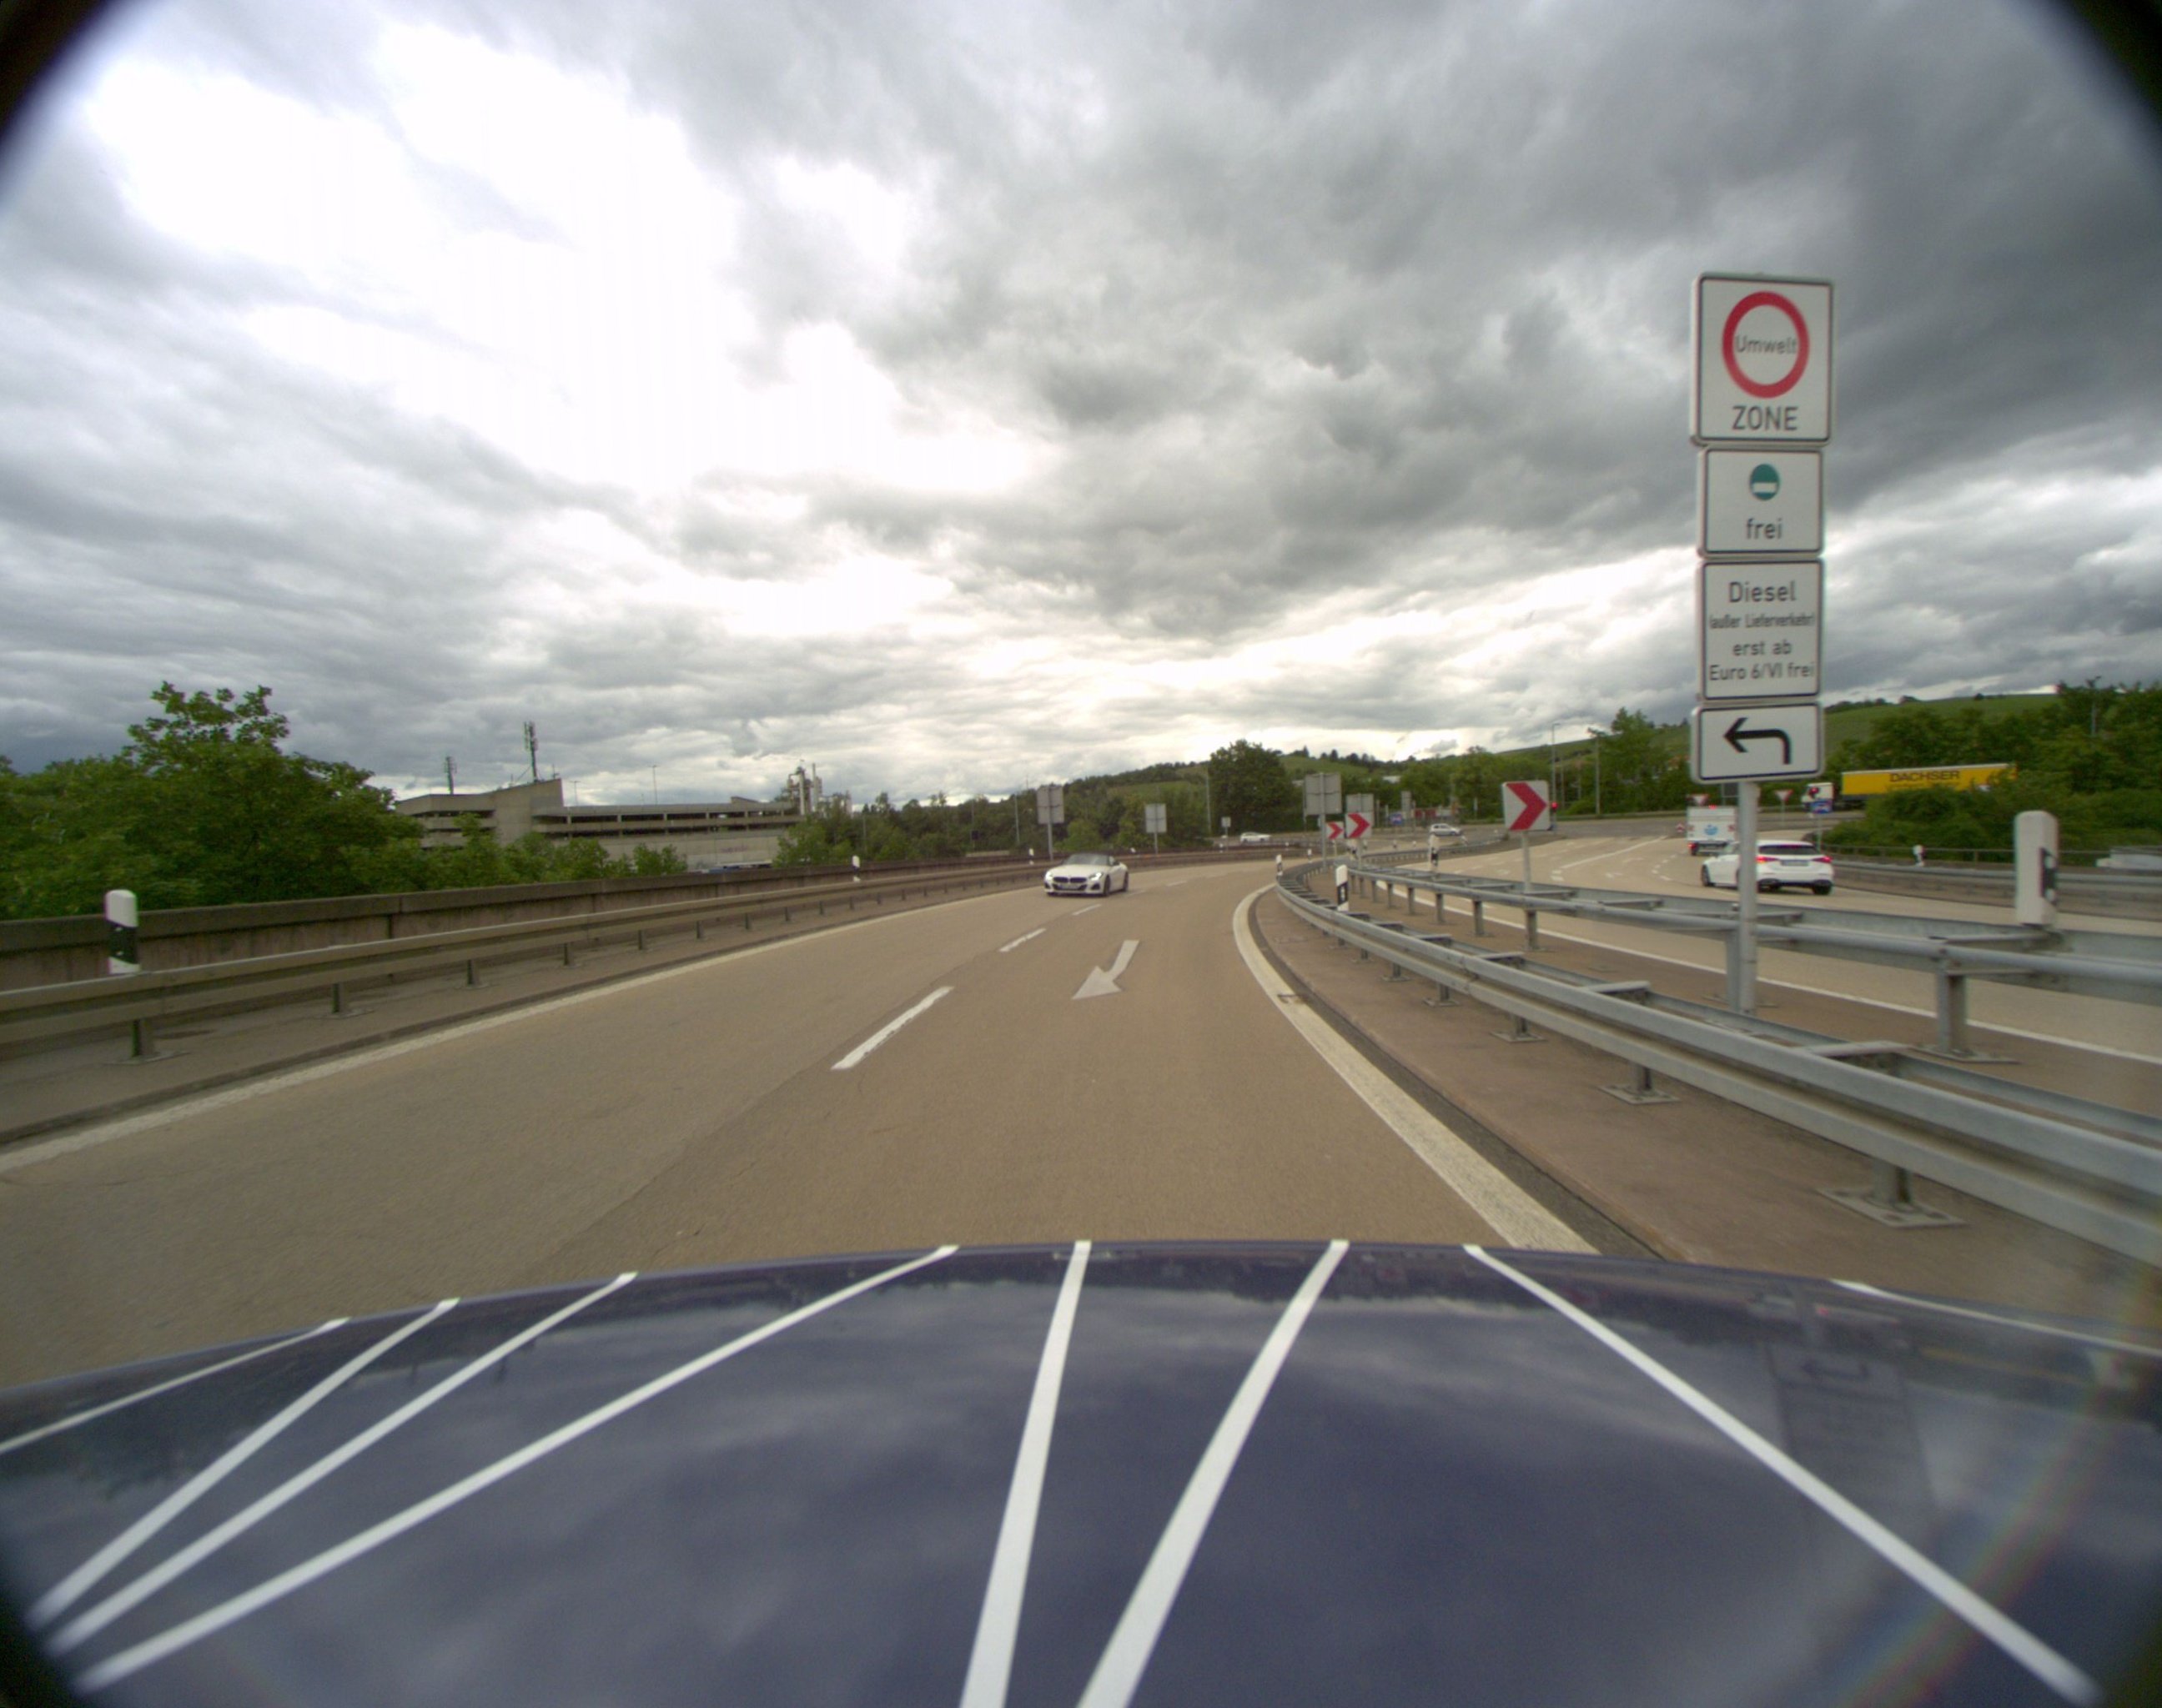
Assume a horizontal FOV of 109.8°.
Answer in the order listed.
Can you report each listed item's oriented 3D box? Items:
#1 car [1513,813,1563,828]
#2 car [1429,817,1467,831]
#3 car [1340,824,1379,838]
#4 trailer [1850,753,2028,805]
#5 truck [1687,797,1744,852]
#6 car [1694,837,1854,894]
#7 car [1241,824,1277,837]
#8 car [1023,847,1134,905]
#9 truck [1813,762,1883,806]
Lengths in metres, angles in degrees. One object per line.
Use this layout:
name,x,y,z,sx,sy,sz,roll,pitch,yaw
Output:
car,52.230,-3.807,86.897,1.612,1.446,4.530,-8,5,-44
car,44.203,-3.603,91.506,3.739,1.366,1.631,-2,4,45
car,36.512,-3.006,99.649,4.283,1.548,1.951,-2,4,44
trailer,84.816,-7.351,75.640,2.639,4.182,11.623,-7,5,-45
truck,39.902,-1.906,47.695,2.345,3.246,7.007,2,4,42
car,19.214,0.262,21.354,1.912,1.406,4.372,1,1,23
car,25.973,-3.393,110.763,4.702,1.552,1.880,-2,4,45
car,0.069,0.557,22.838,1.860,1.337,4.829,1,3,19
truck,80.573,-7.325,79.915,2.639,4.182,5.087,-7,5,-45
